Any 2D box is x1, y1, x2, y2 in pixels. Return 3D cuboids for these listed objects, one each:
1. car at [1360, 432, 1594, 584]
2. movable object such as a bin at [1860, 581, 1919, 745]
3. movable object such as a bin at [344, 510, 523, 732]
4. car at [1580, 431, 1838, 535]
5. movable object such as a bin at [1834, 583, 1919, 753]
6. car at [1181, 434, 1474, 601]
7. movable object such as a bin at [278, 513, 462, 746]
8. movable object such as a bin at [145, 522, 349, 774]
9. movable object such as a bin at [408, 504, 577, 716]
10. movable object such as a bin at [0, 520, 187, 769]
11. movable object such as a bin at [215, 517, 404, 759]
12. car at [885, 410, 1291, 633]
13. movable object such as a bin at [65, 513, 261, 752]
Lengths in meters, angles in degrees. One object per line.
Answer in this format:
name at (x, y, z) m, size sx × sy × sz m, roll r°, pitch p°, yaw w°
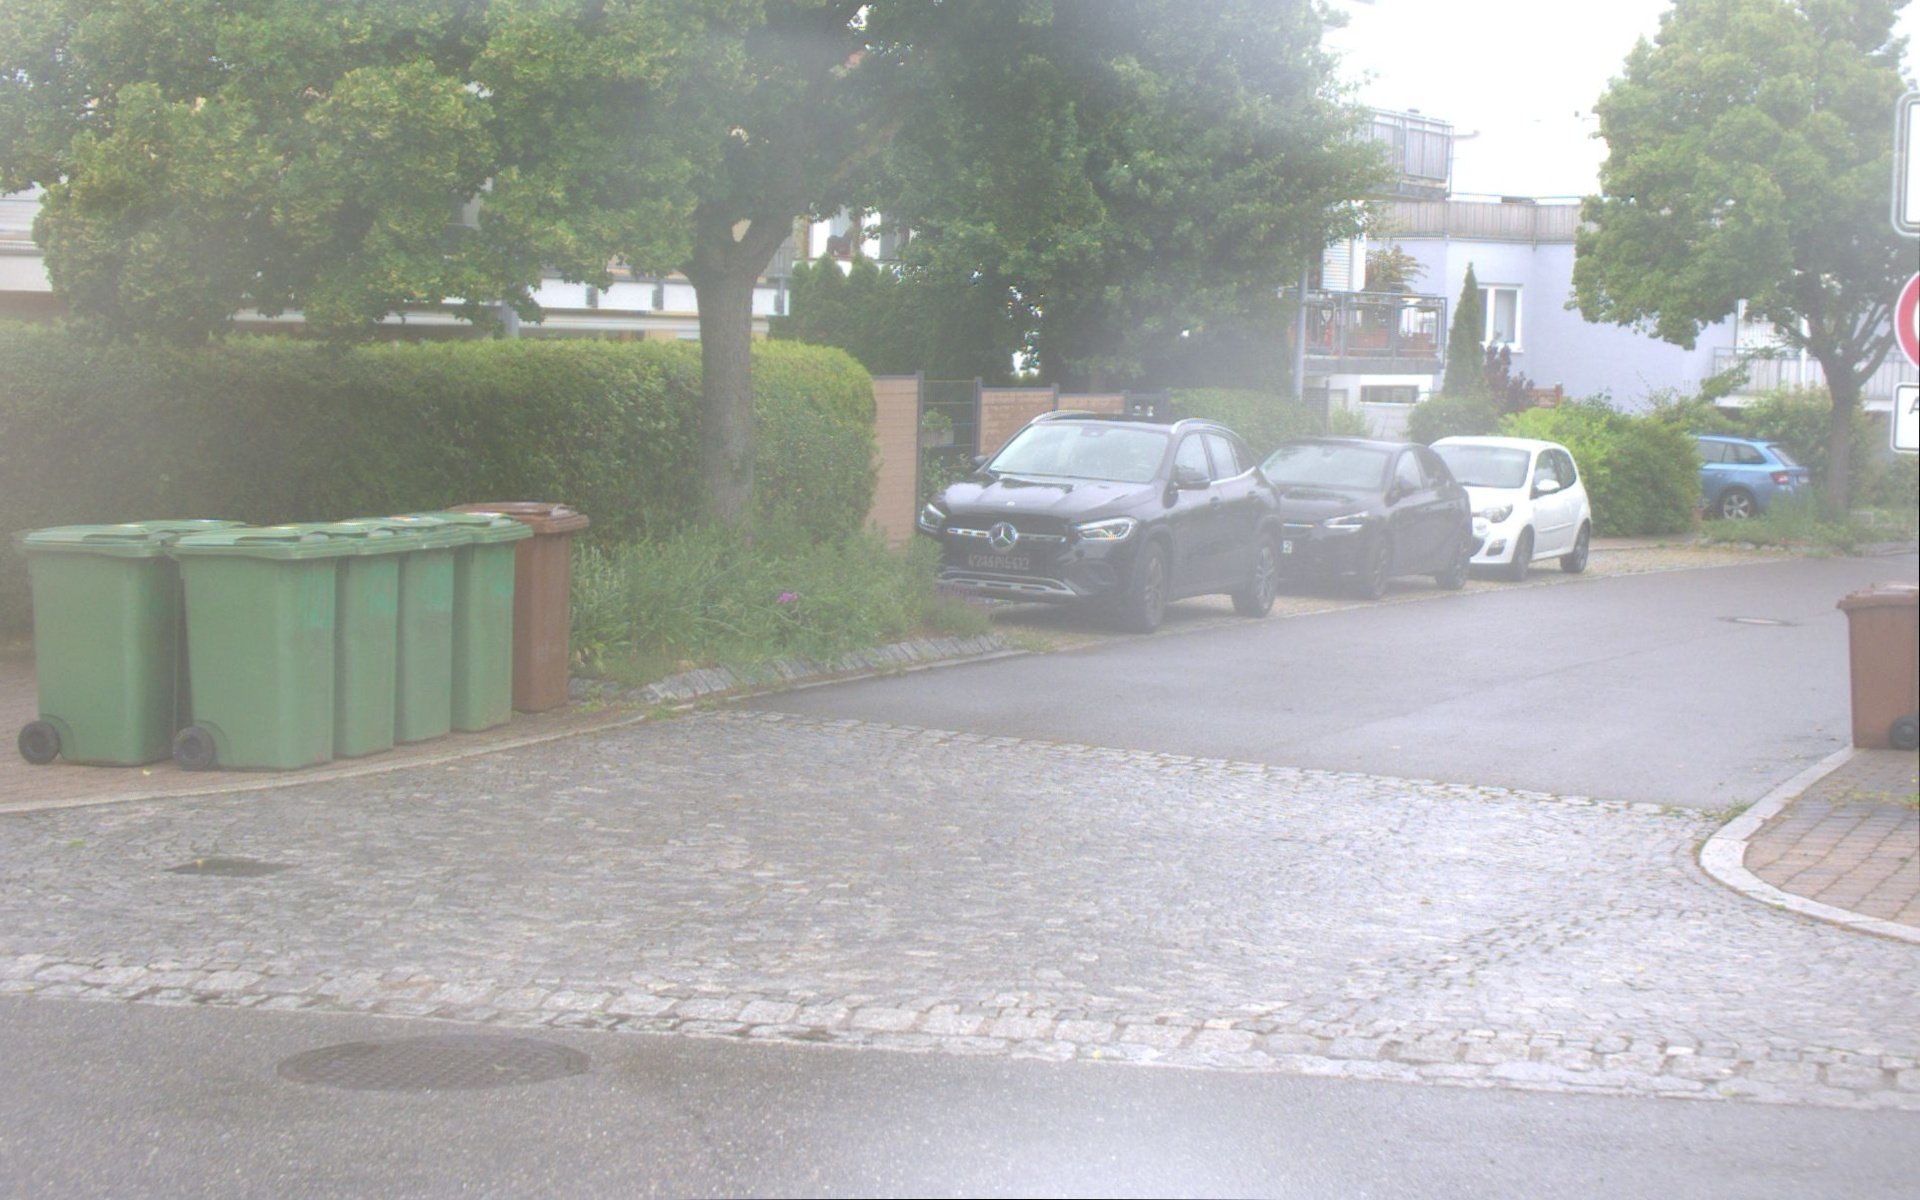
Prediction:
car at (5.606, -1.011, 37.007) m, size 1.513 × 1.471 × 3.269 m, roll 5°, pitch 4°, yaw 25°
movable object such as a bin at (5.694, 0.371, 20.337) m, size 0.571 × 0.928 × 0.529 m, roll 3°, pitch 3°, yaw 28°
movable object such as a bin at (-2.618, 0.092, 17.125) m, size 0.695 × 1.051 × 0.605 m, roll 2°, pitch 3°, yaw 15°
car at (12.641, -1.979, 57.987) m, size 3.991 × 1.562 × 1.907 m, roll 3°, pitch 3°, yaw 19°
movable object such as a bin at (5.411, 0.387, 19.830) m, size 0.571 × 0.928 × 0.529 m, roll 3°, pitch 3°, yaw 28°
car at (3.545, -0.815, 32.630) m, size 1.637 × 1.404 × 3.600 m, roll 5°, pitch 4°, yaw 24°
movable object such as a bin at (-2.837, 0.130, 16.547) m, size 0.695 × 1.063 × 0.579 m, roll 2°, pitch 3°, yaw 15°
movable object such as a bin at (-3.188, 0.202, 15.399) m, size 0.695 × 1.071 × 0.602 m, roll 2°, pitch 3°, yaw 15°
movable object such as a bin at (-2.432, 0.043, 17.916) m, size 0.695 × 1.051 × 0.605 m, roll 2°, pitch 3°, yaw 15°
movable object such as a bin at (-3.928, 0.189, 15.550) m, size 0.665 × 1.069 × 0.543 m, roll 2°, pitch 3°, yaw 16°
movable object such as a bin at (-3.020, 0.164, 15.986) m, size 0.695 × 1.071 × 0.543 m, roll 2°, pitch 3°, yaw 15°
car at (1.093, -0.659, 27.046) m, size 1.777 × 1.513 × 4.133 m, roll 5°, pitch 4°, yaw 22°
movable object such as a bin at (-3.735, 0.140, 16.142) m, size 0.695 × 1.068 × 0.597 m, roll 2°, pitch 3°, yaw 15°
